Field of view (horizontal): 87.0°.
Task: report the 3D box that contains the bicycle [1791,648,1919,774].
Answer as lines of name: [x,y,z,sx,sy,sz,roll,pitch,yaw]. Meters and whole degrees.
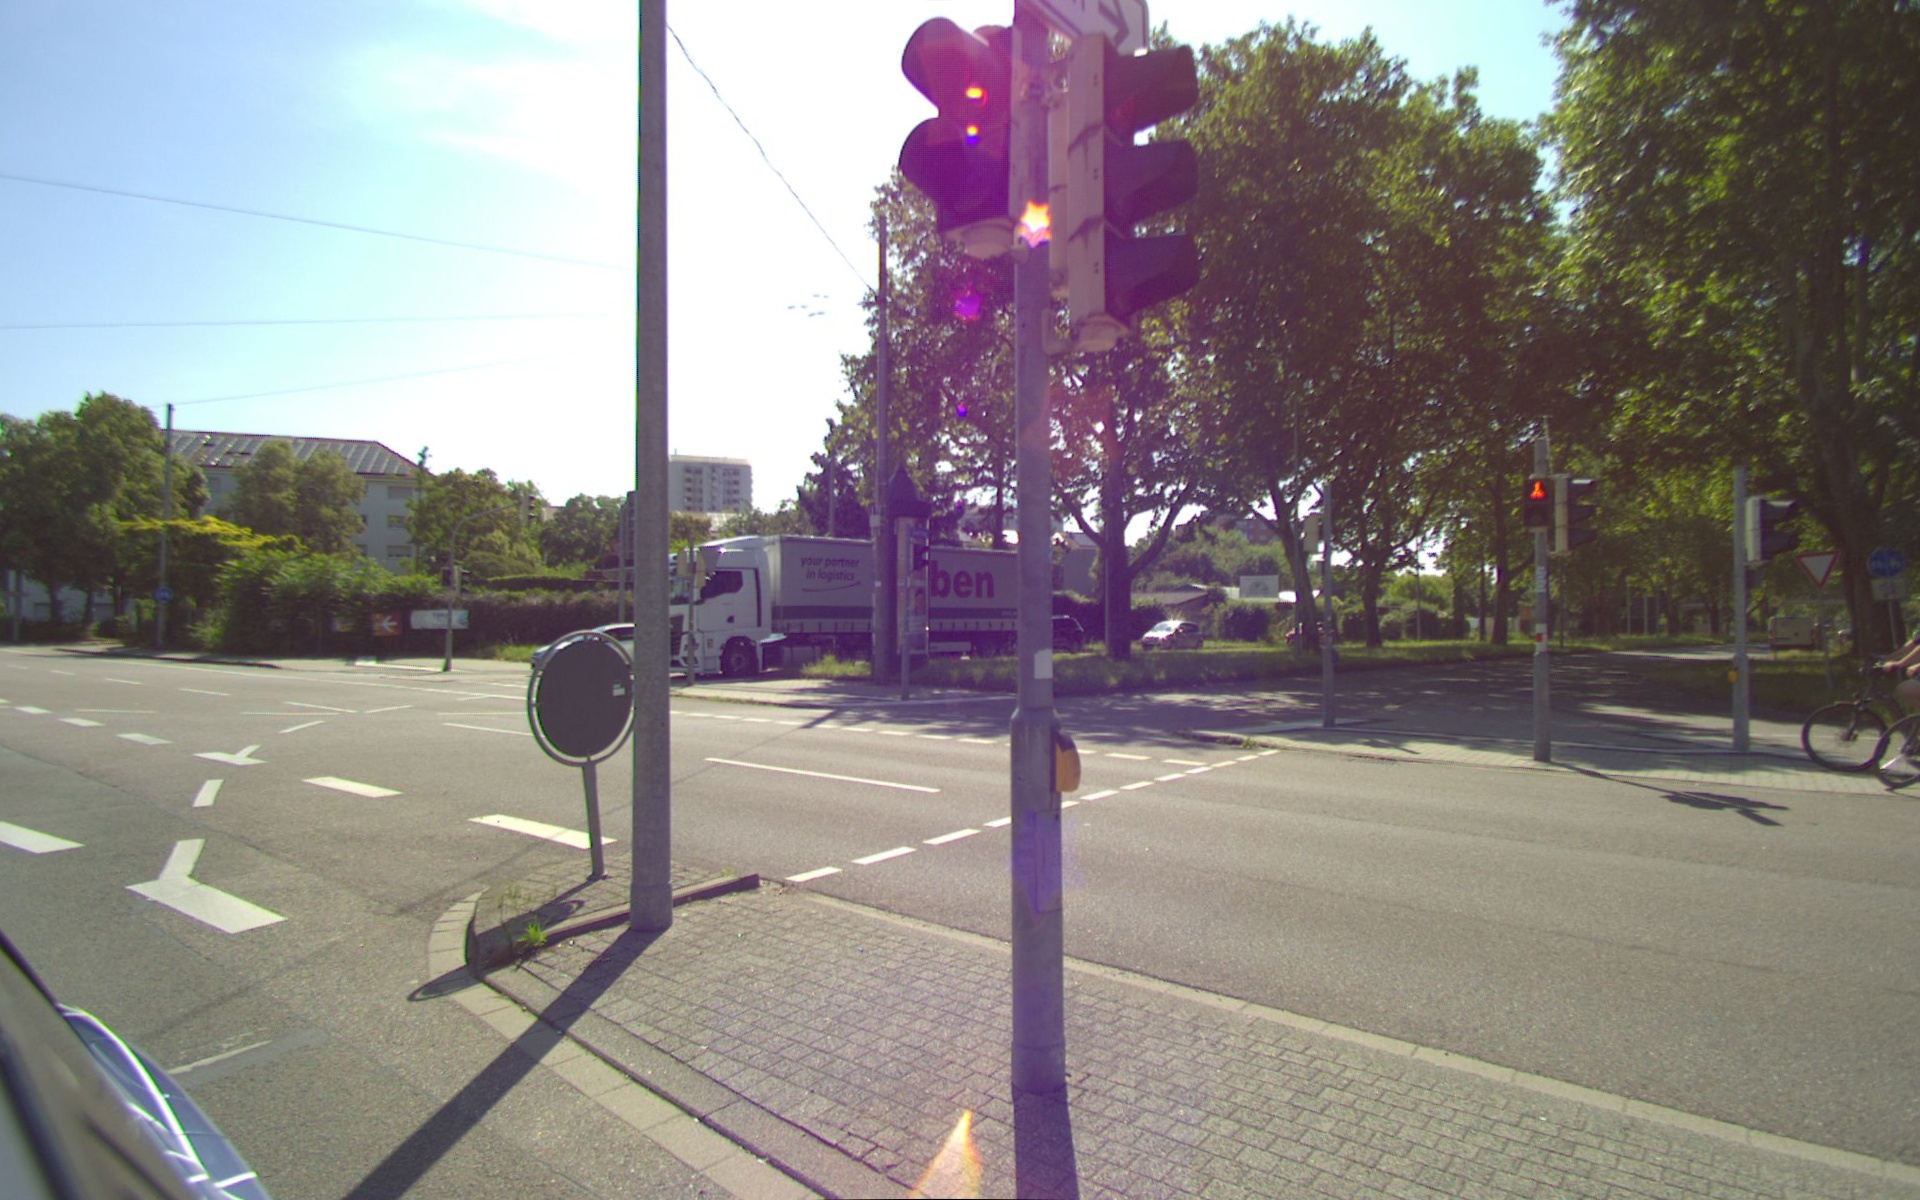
bicycle: [9.671,1.089,10.010,2.209,1.184,0.928,-1,-2,39]

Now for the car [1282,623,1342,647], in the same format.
car: [22.066,2.168,63.379,4.307,1.379,1.757,0,-3,-45]

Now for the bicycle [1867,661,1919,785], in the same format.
bicycle: [9.387,1.091,8.814,2.066,1.066,0.745,-1,-2,29]

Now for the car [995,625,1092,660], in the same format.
car: [3.660,1.828,43.878,4.307,1.379,1.757,0,-3,-45]

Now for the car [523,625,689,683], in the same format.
car: [-10.423,1.551,29.918,4.325,1.522,1.760,0,-2,-36]

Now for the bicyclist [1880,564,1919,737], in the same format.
bicyclist: [9.784,0.484,10.080,0.827,1.687,0.826,-3,-2,44]

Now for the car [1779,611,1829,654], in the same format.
car: [47.897,1.821,57.401,2.000,2.334,4.593,-1,-2,42]

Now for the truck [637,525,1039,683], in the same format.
truck: [-3.005,0.288,31.896,2.855,4.038,14.100,-1,-2,43]

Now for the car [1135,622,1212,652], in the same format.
car: [10.893,1.875,51.512,4.307,1.379,1.757,0,-3,-45]
